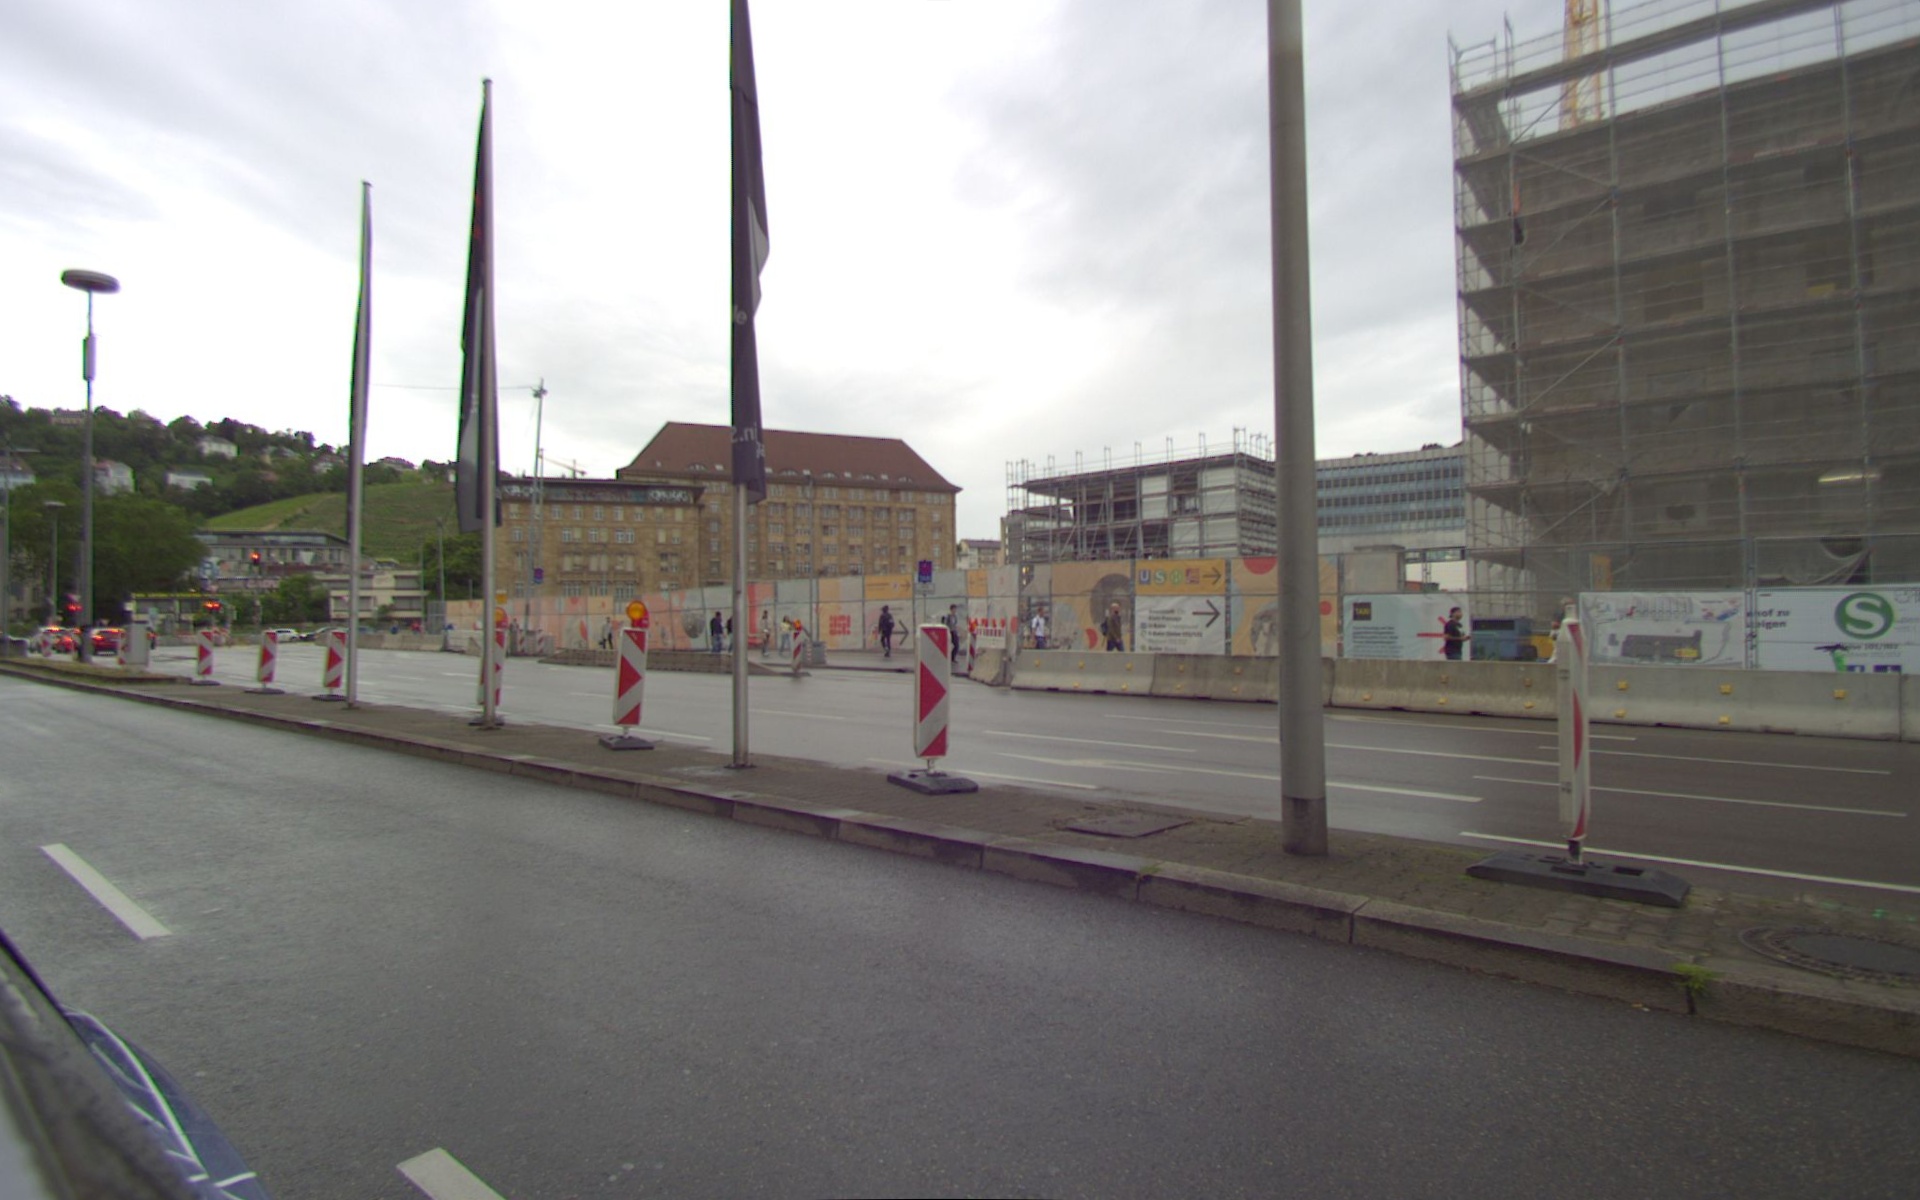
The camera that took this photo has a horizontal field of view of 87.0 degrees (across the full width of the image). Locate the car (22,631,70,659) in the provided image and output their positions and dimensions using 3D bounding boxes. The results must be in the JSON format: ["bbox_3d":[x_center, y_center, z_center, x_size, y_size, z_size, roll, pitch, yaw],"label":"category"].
[{"bbox_3d":[-58.810,2.865,65.116,3.913,1.707,1.763,-1,0,40],"label":"car"}]

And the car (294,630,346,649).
[{"bbox_3d":[-58.110,3.596,91.892,3.934,1.644,2.005,0,-2,-36],"label":"car"}]

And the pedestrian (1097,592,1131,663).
[{"bbox_3d":[4.055,0.723,26.704,0.717,1.850,0.475,-1,0,41],"label":"pedestrian"}]

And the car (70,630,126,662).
[{"bbox_3d":[-47.943,2.513,56.266,3.914,1.707,1.762,-2,-2,41],"label":"car"}]

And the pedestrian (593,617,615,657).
[{"bbox_3d":[-16.860,1.744,47.928,0.720,1.850,0.656,-1,0,41],"label":"pedestrian"}]

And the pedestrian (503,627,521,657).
[{"bbox_3d":[-24.800,2.306,56.013,0.544,1.628,0.706,-1,0,41],"label":"pedestrian"}]

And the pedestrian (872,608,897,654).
[{"bbox_3d":[-2.733,1.114,36.655,0.544,1.628,0.706,-1,0,41],"label":"pedestrian"}]

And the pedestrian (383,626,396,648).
[{"bbox_3d":[-42.799,2.743,75.956,0.544,1.628,0.706,-1,0,41],"label":"pedestrian"}]

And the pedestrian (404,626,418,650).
[{"bbox_3d":[-38.274,2.632,70.553,0.544,1.628,0.706,-1,0,41],"label":"pedestrian"}]

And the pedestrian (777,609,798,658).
[{"bbox_3d":[-6.663,1.293,39.077,0.651,1.850,0.557,-1,0,-29],"label":"pedestrian"}]

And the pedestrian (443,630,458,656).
[{"bbox_3d":[-33.144,2.773,65.808,0.544,1.628,0.706,-1,0,41],"label":"pedestrian"}]

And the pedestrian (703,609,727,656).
[{"bbox_3d":[-9.260,1.217,38.245,0.704,1.746,0.719,-1,0,-31],"label":"pedestrian"}]

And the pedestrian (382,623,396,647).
[{"bbox_3d":[-39.393,2.429,69.849,0.544,1.628,0.706,-1,0,41],"label":"pedestrian"}]

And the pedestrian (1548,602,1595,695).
[{"bbox_3d":[12.372,0.967,20.475,0.717,1.850,0.475,-1,0,41],"label":"pedestrian"}]

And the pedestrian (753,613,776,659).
[{"bbox_3d":[-7.565,1.381,39.200,0.704,1.757,0.565,-1,0,-29],"label":"pedestrian"}]

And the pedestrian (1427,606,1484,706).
[{"bbox_3d":[9.438,1.046,19.280,0.819,1.850,0.572,-1,0,41],"label":"pedestrian"}]

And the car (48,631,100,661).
[{"bbox_3d":[-53.640,2.762,61.228,3.913,1.707,1.763,-1,0,40],"label":"car"}]

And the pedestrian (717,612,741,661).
[{"bbox_3d":[-9.025,1.414,39.544,0.704,1.850,0.719,-1,0,-31],"label":"pedestrian"}]

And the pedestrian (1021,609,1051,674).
[{"bbox_3d":[2.198,1.189,29.247,0.717,1.850,0.475,-1,0,41],"label":"pedestrian"}]

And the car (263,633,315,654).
[{"bbox_3d":[-68.053,4.390,102.675,4.136,1.871,1.833,-1,0,-44],"label":"car"}]

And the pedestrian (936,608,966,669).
[{"bbox_3d":[-0.273,1.179,31.391,0.717,1.850,0.579,-1,0,41],"label":"pedestrian"}]
